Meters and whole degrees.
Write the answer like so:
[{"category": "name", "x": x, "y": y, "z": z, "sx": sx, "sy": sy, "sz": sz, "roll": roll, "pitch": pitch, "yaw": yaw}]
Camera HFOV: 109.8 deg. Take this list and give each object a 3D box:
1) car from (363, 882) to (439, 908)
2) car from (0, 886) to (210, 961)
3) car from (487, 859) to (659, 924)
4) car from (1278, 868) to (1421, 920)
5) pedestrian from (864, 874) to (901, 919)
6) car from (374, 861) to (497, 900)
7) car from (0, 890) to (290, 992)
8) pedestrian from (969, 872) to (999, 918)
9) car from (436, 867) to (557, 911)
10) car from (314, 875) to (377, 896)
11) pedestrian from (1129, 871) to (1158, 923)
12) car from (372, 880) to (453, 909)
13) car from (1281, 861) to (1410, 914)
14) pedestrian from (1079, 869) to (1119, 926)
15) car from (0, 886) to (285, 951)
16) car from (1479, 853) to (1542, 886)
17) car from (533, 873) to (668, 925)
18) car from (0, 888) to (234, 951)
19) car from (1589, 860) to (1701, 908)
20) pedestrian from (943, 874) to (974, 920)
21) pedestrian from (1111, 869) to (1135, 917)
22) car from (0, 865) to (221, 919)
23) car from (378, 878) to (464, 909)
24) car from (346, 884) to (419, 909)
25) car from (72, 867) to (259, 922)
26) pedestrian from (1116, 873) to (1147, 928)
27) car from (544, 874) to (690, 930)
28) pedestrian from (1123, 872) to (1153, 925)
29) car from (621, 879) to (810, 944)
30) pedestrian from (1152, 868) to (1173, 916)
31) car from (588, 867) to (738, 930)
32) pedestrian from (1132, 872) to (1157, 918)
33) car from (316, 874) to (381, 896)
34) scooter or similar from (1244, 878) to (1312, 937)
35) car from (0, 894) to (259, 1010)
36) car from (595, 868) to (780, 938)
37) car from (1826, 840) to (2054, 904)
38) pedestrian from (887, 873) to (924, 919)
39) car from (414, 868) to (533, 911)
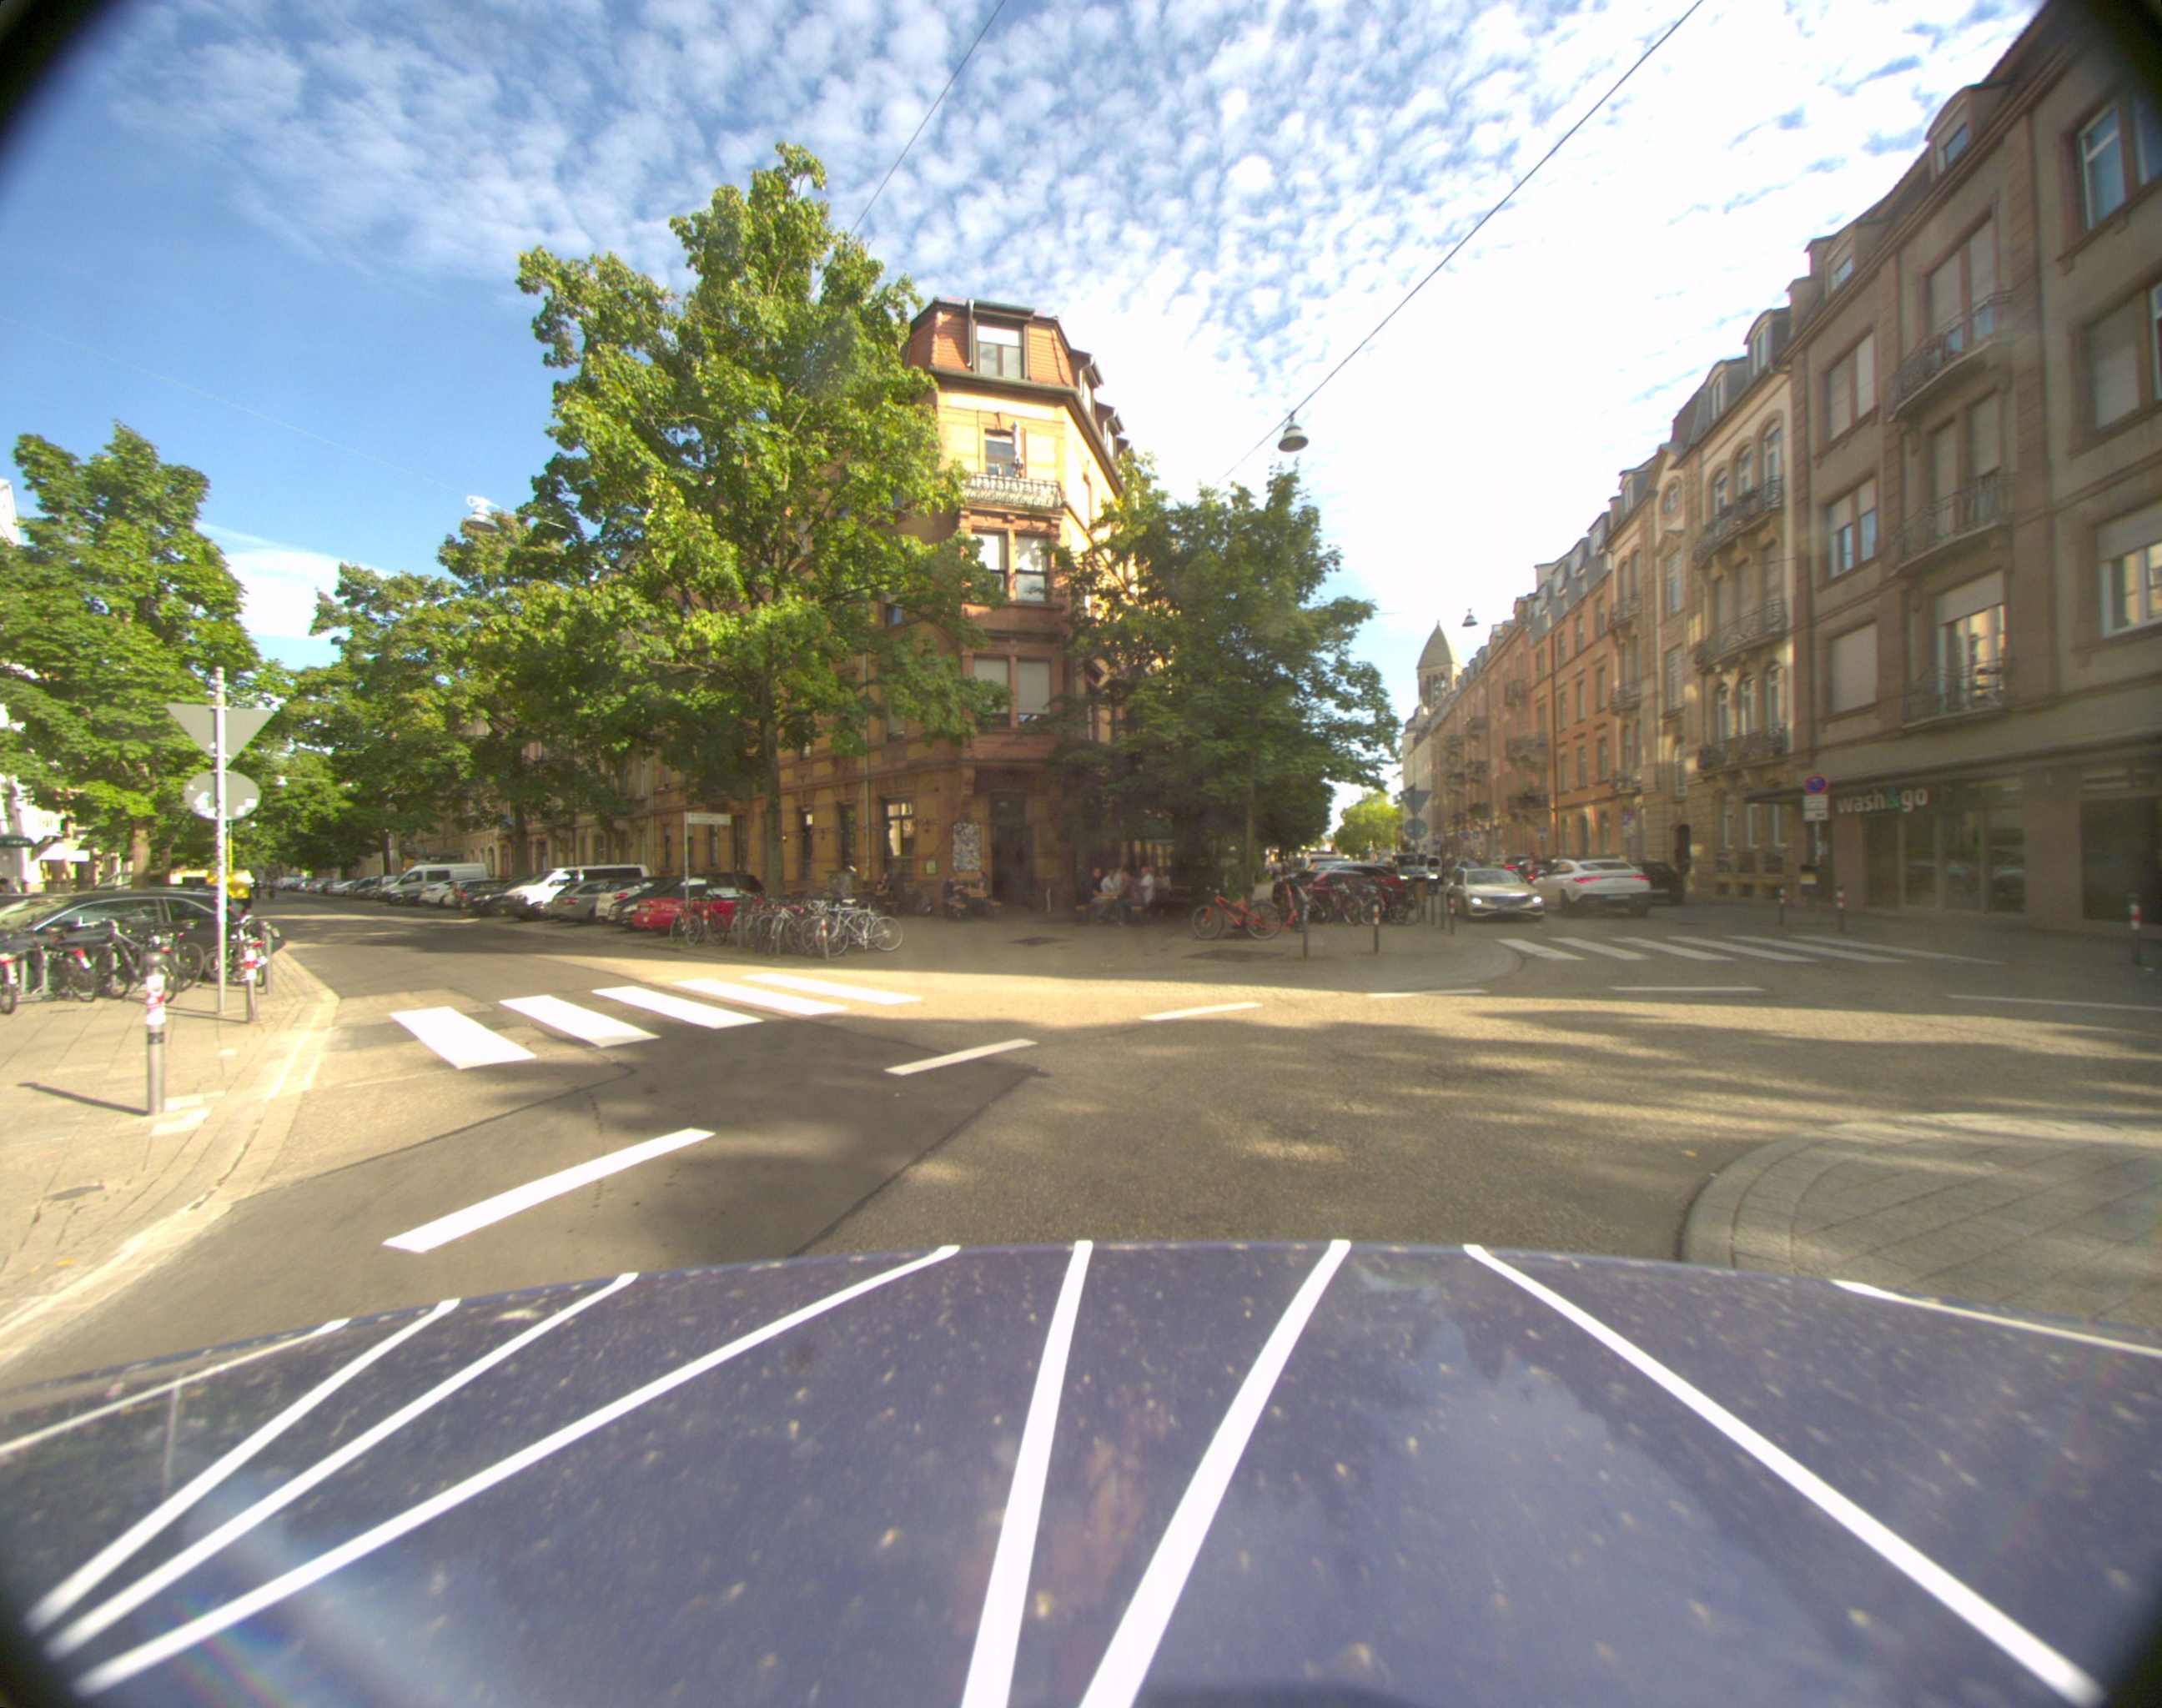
[{"category": "car", "x": -50.697, "y": 3.032, "z": 56.705, "sx": 1.824, "sy": 1.721, "sz": 4.008, "roll": -3, "pitch": -1, "yaw": 41}, {"category": "car", "x": -21.998, "y": 1.446, "z": 15.916, "sx": 1.747, "sy": 1.425, "sz": 4.636, "roll": -2, "pitch": -2, "yaw": 14}, {"category": "car", "x": -19.073, "y": 1.327, "z": 28.757, "sx": 2.041, "sy": 1.978, "sz": 4.920, "roll": -1, "pitch": 3, "yaw": 39}, {"category": "car", "x": 7.707, "y": 1.141, "z": 21.925, "sx": 3.588, "sy": 1.372, "sz": 1.512, "roll": 1, "pitch": 0, "yaw": -8}, {"category": "pedestrian", "x": -5.925, "y": 1.255, "z": 22.702, "sx": 0.627, "sy": 1.278, "sz": 0.770, "roll": -2, "pitch": 2, "yaw": 40}, {"category": "car", "x": -39.767, "y": 1.595, "z": 46.934, "sx": 1.995, "sy": 2.188, "sz": 5.493, "roll": -3, "pitch": -1, "yaw": 43}, {"category": "car", "x": -17.103, "y": 1.424, "z": 13.015, "sx": 1.954, "sy": 1.446, "sz": 4.670, "roll": -2, "pitch": -2, "yaw": 7}, {"category": "pedestrian", "x": -2.773, "y": 1.155, "z": 21.699, "sx": 0.643, "sy": 1.252, "sz": 0.510, "roll": -3, "pitch": 3, "yaw": -40}, {"category": "car", "x": -29.862, "y": 1.721, "z": 38.955, "sx": 1.931, "sy": 1.823, "sz": 4.467, "roll": -1, "pitch": 3, "yaw": 39}, {"category": "car", "x": -68.013, "y": 2.869, "z": 70.297, "sx": 1.824, "sy": 1.721, "sz": 4.008, "roll": -3, "pitch": -1, "yaw": 41}, {"category": "pedestrian", "x": 1.623, "y": 1.107, "z": 19.598, "sx": 0.728, "sy": 1.307, "sz": 0.608, "roll": 0, "pitch": 0, "yaw": 5}, {"category": "car", "x": -46.846, "y": 2.811, "z": 53.272, "sx": 1.824, "sy": 1.807, "sz": 4.008, "roll": -3, "pitch": -1, "yaw": 41}, {"category": "car", "x": 8.443, "y": 1.060, "z": 24.372, "sx": 3.587, "sy": 1.606, "sz": 1.512, "roll": 1, "pitch": 0, "yaw": -6}, {"category": "pedestrian", "x": 0.450, "y": 1.077, "z": 19.129, "sx": 0.671, "sy": 1.371, "sz": 0.715, "roll": -2, "pitch": 1, "yaw": -38}, {"category": "car", "x": -25.280, "y": 1.669, "z": 20.742, "sx": 1.747, "sy": 1.486, "sz": 4.636, "roll": -2, "pitch": -2, "yaw": 14}, {"category": "car", "x": 22.697, "y": 0.788, "z": 40.311, "sx": 1.760, "sy": 1.588, "sz": 4.347, "roll": -3, "pitch": -1, "yaw": 14}, {"category": "car", "x": -17.158, "y": 1.553, "z": 27.252, "sx": 1.665, "sy": 1.449, "sz": 3.714, "roll": -1, "pitch": 3, "yaw": 44}, {"category": "car", "x": -27.729, "y": 1.786, "z": 21.562, "sx": 1.747, "sy": 1.486, "sz": 4.636, "roll": -2, "pitch": -2, "yaw": 14}, {"category": "car", "x": 18.248, "y": 0.926, "z": 24.781, "sx": 1.721, "sy": 1.360, "sz": 3.835, "roll": -3, "pitch": -1, "yaw": 18}, {"category": "pedestrian", "x": -3.425, "y": 1.198, "z": 21.247, "sx": 0.643, "sy": 1.218, "sz": 0.510, "roll": -3, "pitch": 3, "yaw": -40}, {"category": "pedestrian", "x": 1.162, "y": 1.072, "z": 21.169, "sx": 0.548, "sy": 1.293, "sz": 0.621, "roll": -1, "pitch": 1, "yaw": -7}, {"category": "car", "x": -30.011, "y": 1.114, "z": 23.218, "sx": 1.747, "sy": 1.486, "sz": 4.636, "roll": -2, "pitch": -2, "yaw": 14}, {"category": "car", "x": -44.551, "y": 2.643, "z": 51.339, "sx": 1.995, "sy": 1.862, "sz": 4.135, "roll": -3, "pitch": -1, "yaw": 43}, {"category": "car", "x": -54.850, "y": 3.286, "z": 59.672, "sx": 1.824, "sy": 1.721, "sz": 4.008, "roll": -3, "pitch": -1, "yaw": 41}, {"category": "car", "x": -40.089, "y": 1.702, "z": 33.482, "sx": 2.144, "sy": 2.207, "sz": 4.816, "roll": -2, "pitch": -2, "yaw": 11}, {"category": "pedestrian", "x": 1.235, "y": 1.115, "z": 18.498, "sx": 0.728, "sy": 1.307, "sz": 0.521, "roll": 0, "pitch": 0, "yaw": 5}, {"category": "car", "x": -15.265, "y": 1.541, "z": 25.127, "sx": 1.665, "sy": 1.449, "sz": 3.714, "roll": -3, "pitch": 1, "yaw": 44}, {"category": "pedestrian", "x": 1.430, "y": 1.105, "z": 19.005, "sx": 0.728, "sy": 1.307, "sz": 0.521, "roll": 0, "pitch": 0, "yaw": 5}, {"category": "car", "x": -9.437, "y": 1.432, "z": 19.903, "sx": 1.564, "sy": 1.263, "sz": 4.120, "roll": -3, "pitch": 0, "yaw": 40}, {"category": "pedestrian", "x": 2.307, "y": 1.061, "z": 21.522, "sx": 0.467, "sy": 1.319, "sz": 0.621, "roll": -1, "pitch": 1, "yaw": -7}, {"category": "car", "x": -13.165, "y": 1.350, "z": 24.044, "sx": 1.856, "sy": 1.710, "sz": 3.715, "roll": -3, "pitch": -1, "yaw": 44}, {"category": "pedestrian", "x": 1.763, "y": 1.127, "z": 21.111, "sx": 0.548, "sy": 1.225, "sz": 0.621, "roll": -1, "pitch": 1, "yaw": -7}, {"category": "car", "x": -66.186, "y": 2.784, "z": 68.691, "sx": 1.824, "sy": 1.721, "sz": 4.008, "roll": -3, "pitch": -1, "yaw": 41}, {"category": "scooter or similar", "x": 4.262, "y": 1.144, "z": 16.434, "sx": 1.289, "sy": 1.203, "sz": 0.557, "roll": 0, "pitch": -1, "yaw": 36}, {"category": "car", "x": -15.038, "y": 1.364, "z": 10.888, "sx": 1.806, "sy": 1.446, "sz": 4.007, "roll": 0, "pitch": -1, "yaw": 21}, {"category": "car", "x": -11.308, "y": 1.330, "z": 22.028, "sx": 4.320, "sy": 1.561, "sz": 2.001, "roll": -4, "pitch": 1, "yaw": -42}, {"category": "car", "x": 24.687, "y": 0.509, "z": 22.011, "sx": 3.994, "sy": 1.611, "sz": 2.002, "roll": -3, "pitch": -1, "yaw": 9}, {"category": "pedestrian", "x": -5.125, "y": 1.212, "z": 22.180, "sx": 0.627, "sy": 1.278, "sz": 0.770, "roll": -2, "pitch": 2, "yaw": 40}, {"category": "car", "x": -31.961, "y": 1.802, "z": 40.091, "sx": 1.931, "sy": 1.823, "sz": 4.467, "roll": -1, "pitch": 3, "yaw": 39}]
